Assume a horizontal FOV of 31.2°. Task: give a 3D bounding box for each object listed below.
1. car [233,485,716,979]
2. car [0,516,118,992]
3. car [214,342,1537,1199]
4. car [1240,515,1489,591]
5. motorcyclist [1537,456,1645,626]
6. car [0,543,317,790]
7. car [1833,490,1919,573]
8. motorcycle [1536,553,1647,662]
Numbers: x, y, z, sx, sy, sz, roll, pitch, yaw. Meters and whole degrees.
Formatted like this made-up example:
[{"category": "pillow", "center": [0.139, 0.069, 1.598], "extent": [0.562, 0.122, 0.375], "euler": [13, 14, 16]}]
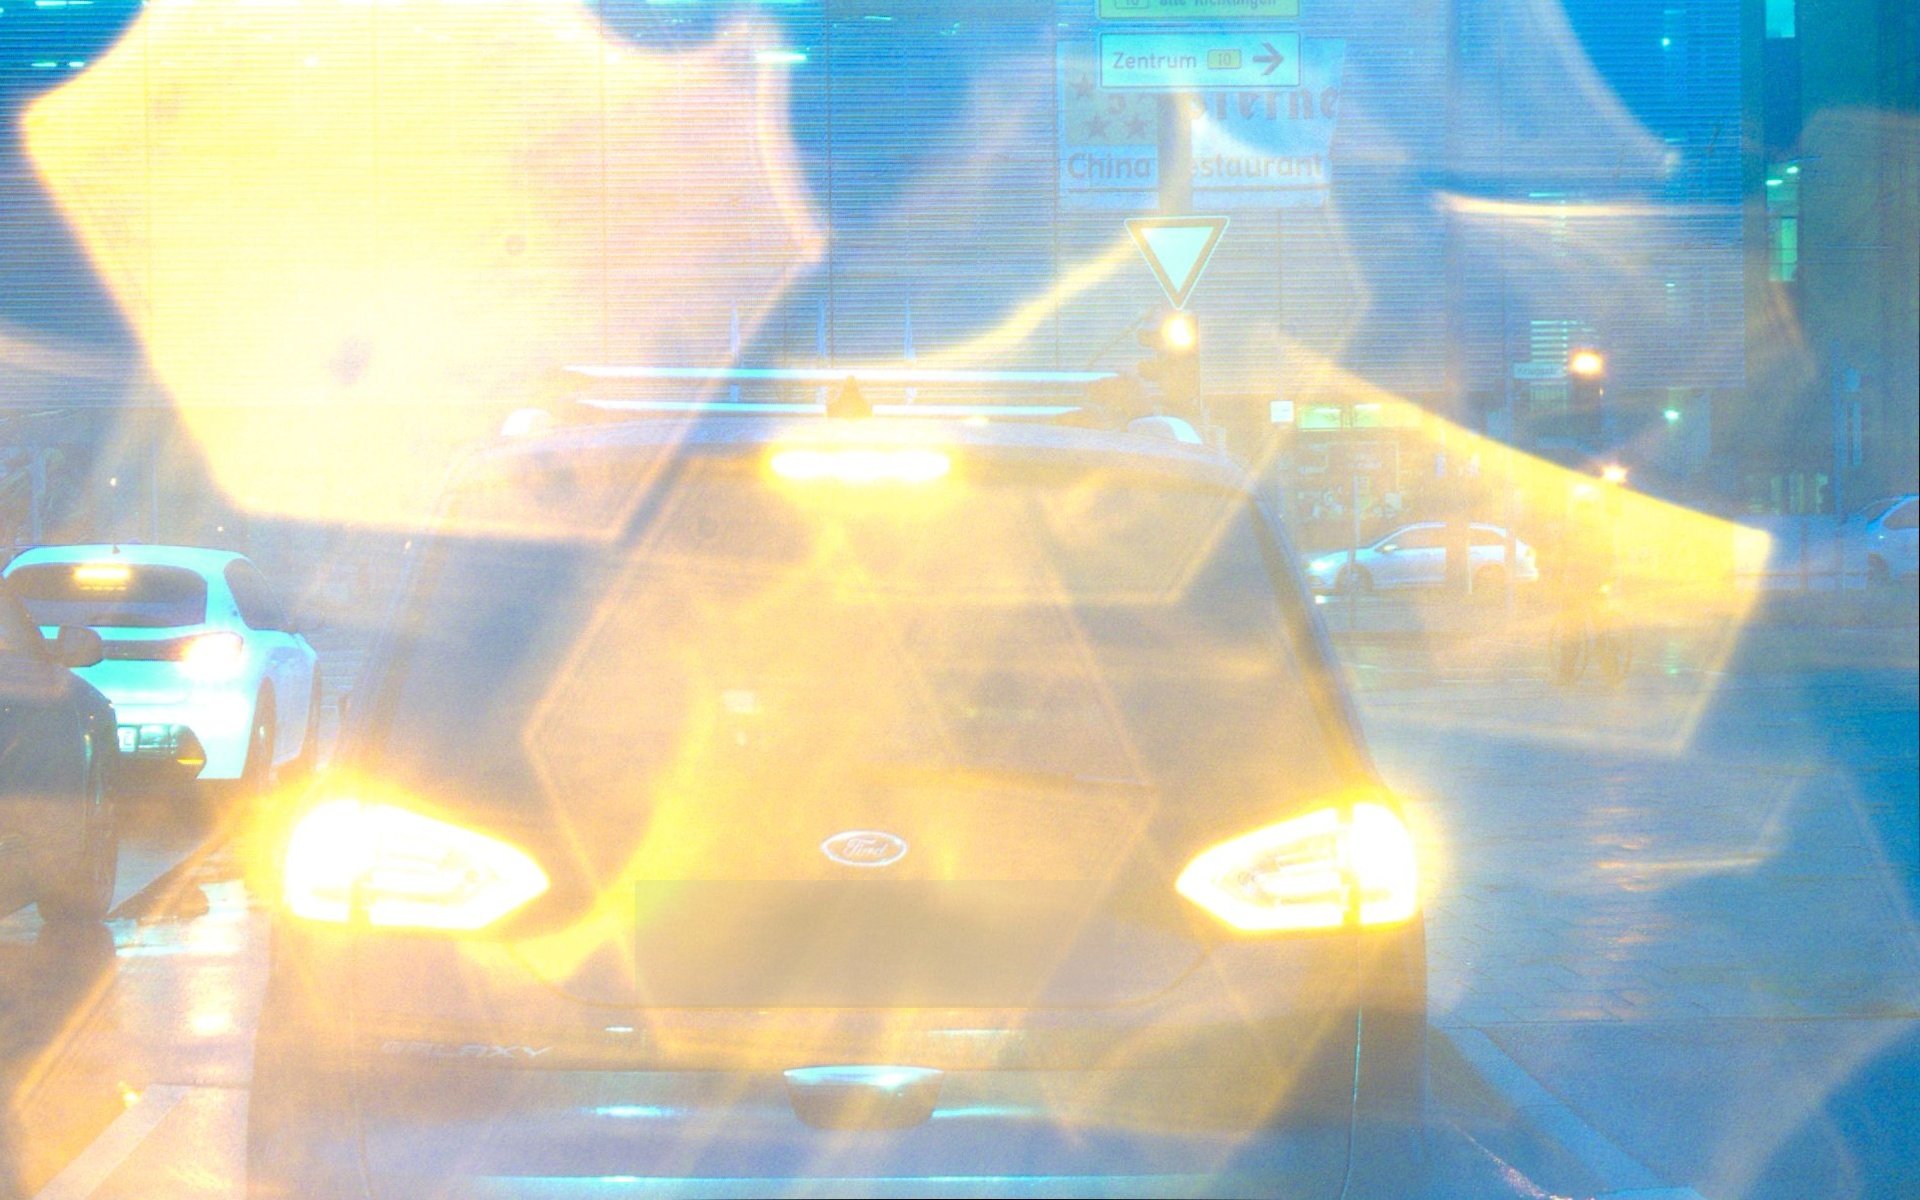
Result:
[{"category": "car", "center": [-1.824, 0.431, 13.661], "extent": [1.636, 1.691, 3.671], "euler": [1, 1, -5]}, {"category": "car", "center": [-4.068, 0.509, 11.585], "extent": [1.752, 1.568, 4.001], "euler": [-1, 1, -4]}, {"category": "car", "center": [-0.221, 0.502, 6.723], "extent": [1.735, 1.732, 4.247], "euler": [2, 1, -3]}, {"category": "car", "center": [7.742, -0.913, 65.988], "extent": [4.418, 1.385, 1.800], "euler": [-1, 1, -7]}, {"category": "motorcyclist", "center": [5.803, -0.543, 31.660], "extent": [0.868, 1.529, 1.108], "euler": [0, 1, 5]}, {"category": "car", "center": [-4.528, 0.303, 19.521], "extent": [1.540, 1.247, 4.069], "euler": [0, 1, -8]}, {"category": "car", "center": [19.459, -1.352, 66.923], "extent": [4.418, 1.589, 1.800], "euler": [-1, 1, -7]}, {"category": "motorcycle", "center": [5.802, 0.057, 31.655], "extent": [0.853, 0.968, 1.581], "euler": [0, 1, 5]}]
